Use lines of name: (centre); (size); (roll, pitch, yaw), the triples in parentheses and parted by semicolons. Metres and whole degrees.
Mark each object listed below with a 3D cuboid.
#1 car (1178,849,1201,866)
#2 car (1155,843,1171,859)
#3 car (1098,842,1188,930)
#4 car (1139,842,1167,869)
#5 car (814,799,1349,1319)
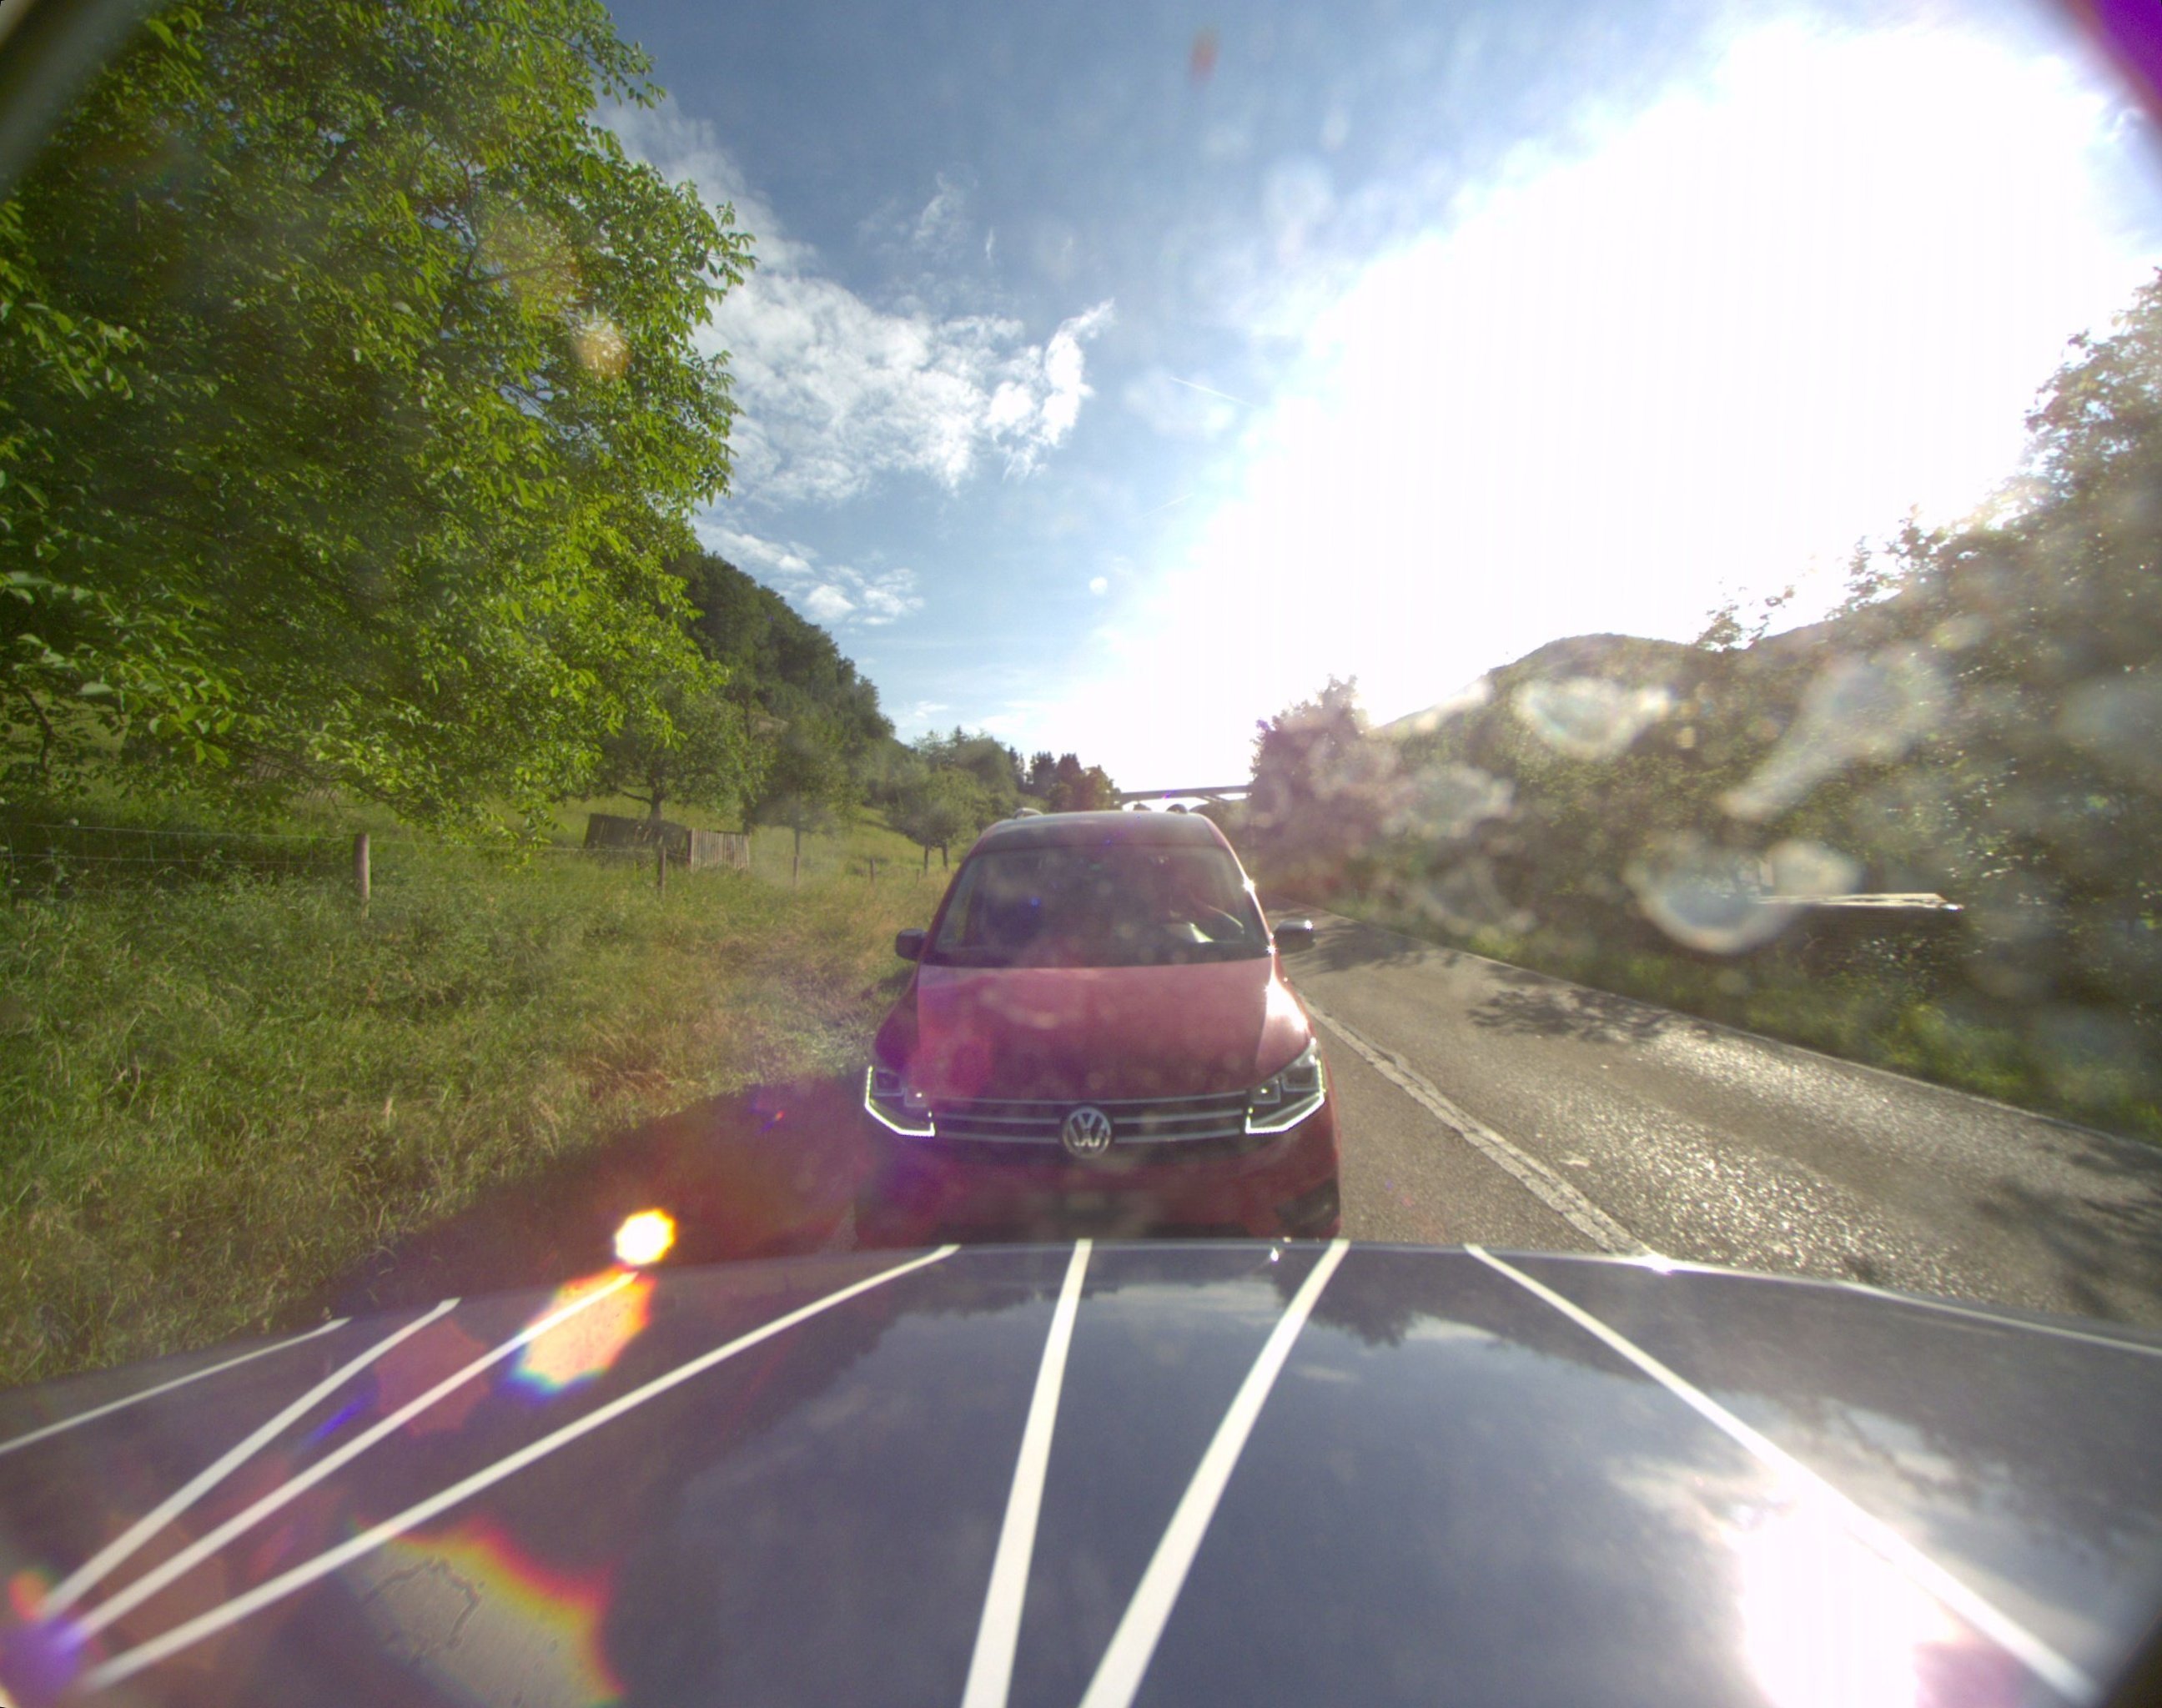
car: (9.688, 0.301, 67.871); (1.708, 1.422, 4.051); (-2, 1, 4)
car: (10.862, -0.455, 100.963); (1.997, 2.002, 4.001); (-2, 1, 6)
car: (1.411, 0.621, 17.450); (1.758, 1.745, 4.001); (-2, 1, 5)
car: (5.654, 0.113, 59.893); (1.998, 2.002, 4.000); (-2, 1, 4)
car: (0.137, 0.688, 4.792); (1.759, 1.745, 4.430); (-2, 1, 4)
